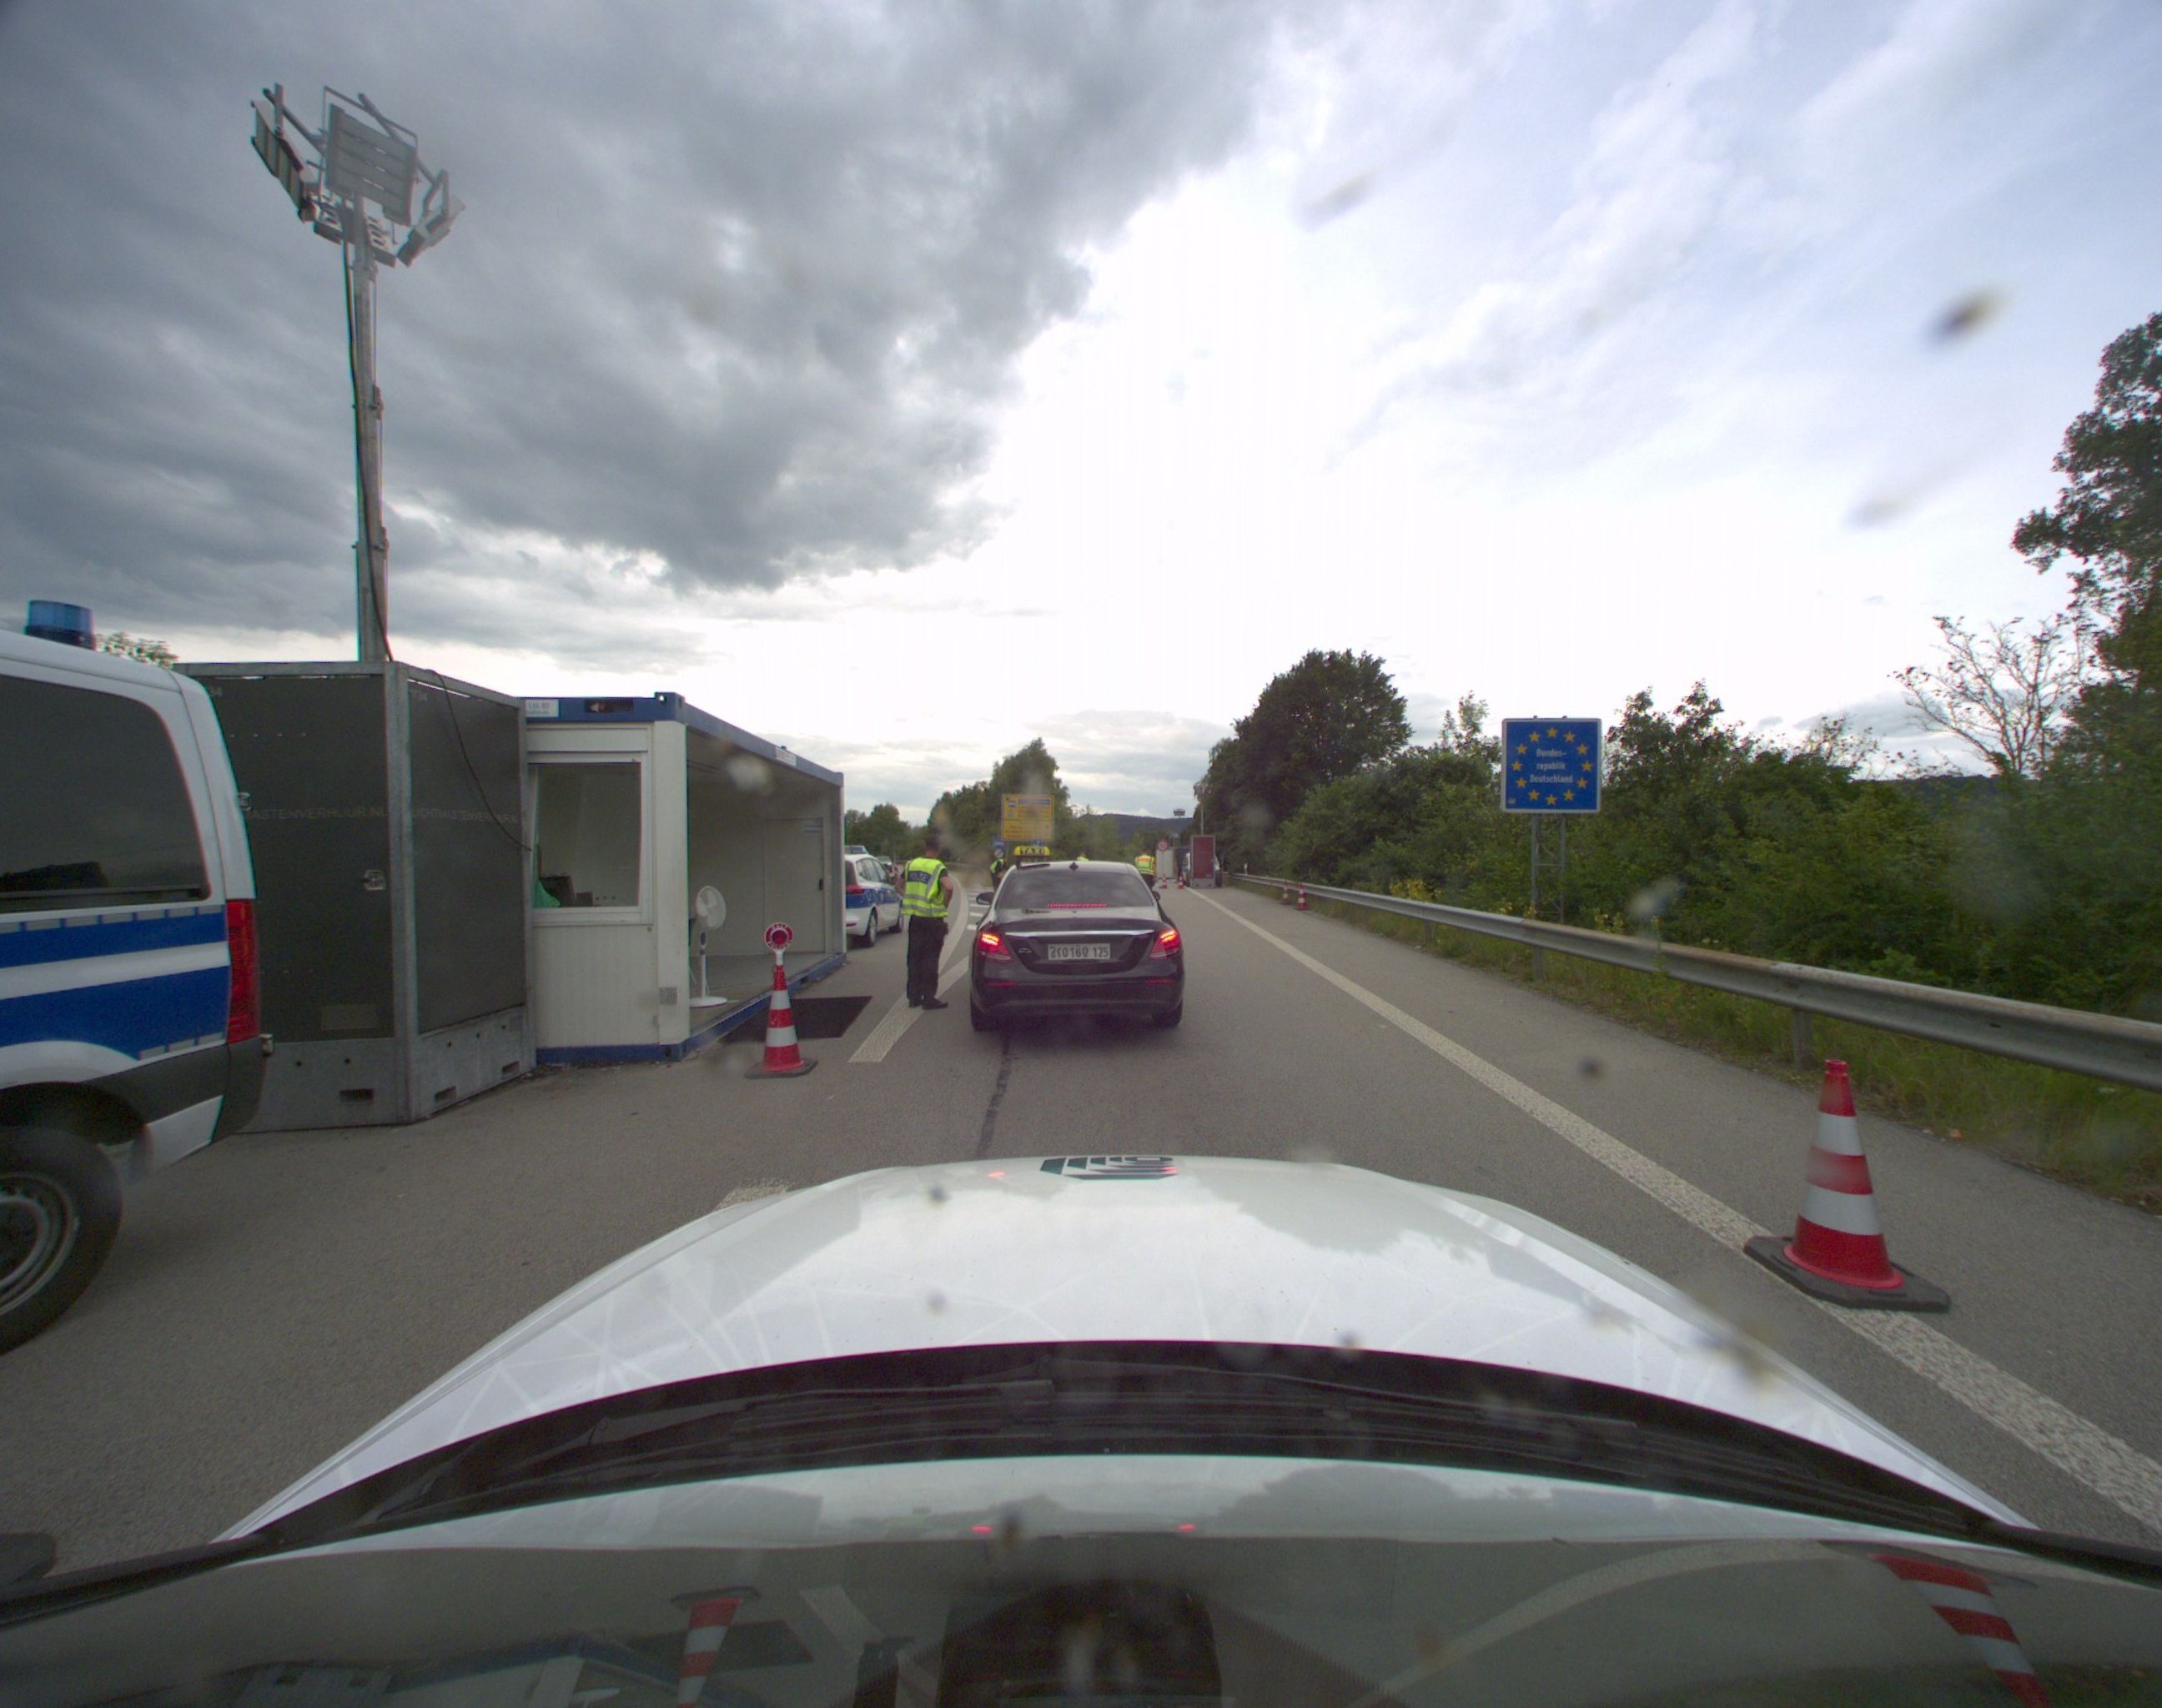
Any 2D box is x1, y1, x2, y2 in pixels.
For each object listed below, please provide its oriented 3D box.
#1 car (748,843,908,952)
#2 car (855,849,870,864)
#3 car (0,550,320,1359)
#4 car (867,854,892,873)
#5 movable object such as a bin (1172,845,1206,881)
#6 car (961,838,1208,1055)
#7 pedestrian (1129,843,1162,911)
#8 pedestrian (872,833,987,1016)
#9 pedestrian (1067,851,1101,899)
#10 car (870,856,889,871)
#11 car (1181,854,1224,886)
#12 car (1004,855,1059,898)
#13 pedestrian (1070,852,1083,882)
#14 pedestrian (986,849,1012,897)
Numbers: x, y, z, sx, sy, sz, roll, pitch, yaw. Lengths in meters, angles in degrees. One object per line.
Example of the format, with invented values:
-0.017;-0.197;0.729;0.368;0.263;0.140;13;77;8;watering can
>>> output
-4.548;0.714;15.294;1.864;1.743;4.005;-1;0;-2;car
-35.123;0.399;130.920;1.863;2.222;4.225;-1;0;-22;car
-4.264;0.309;0.863;2.023;2.463;5.276;-1;0;-2;car
-17.211;0.780;69.652;1.856;1.498;4.240;-1;0;-11;car
7.191;0.585;54.610;1.984;2.280;4.172;-1;0;4;movable object such as a bin
-0.068;0.698;8.341;1.851;1.595;4.371;-1;0;-3;car
1.799;0.631;22.639;0.807;1.830;0.812;-1;-1;9;pedestrian
-1.522;0.666;8.199;0.752;1.718;0.823;-2;-1;39;pedestrian
0.093;0.754;29.744;0.914;1.698;0.905;0;-1;-30;pedestrian
-21.015;0.947;84.836;1.859;1.498;4.235;-1;0;-15;car
6.751;0.862;45.769;1.908;1.678;5.087;1;0;3;car
-1.811;0.810;30.951;1.850;1.498;4.255;-1;0;-1;car
-0.282;0.842;54.289;0.659;1.961;0.763;-1;-1;17;pedestrian
-3.103;0.709;30.967;0.908;1.769;0.911;-1;0;-1;pedestrian
